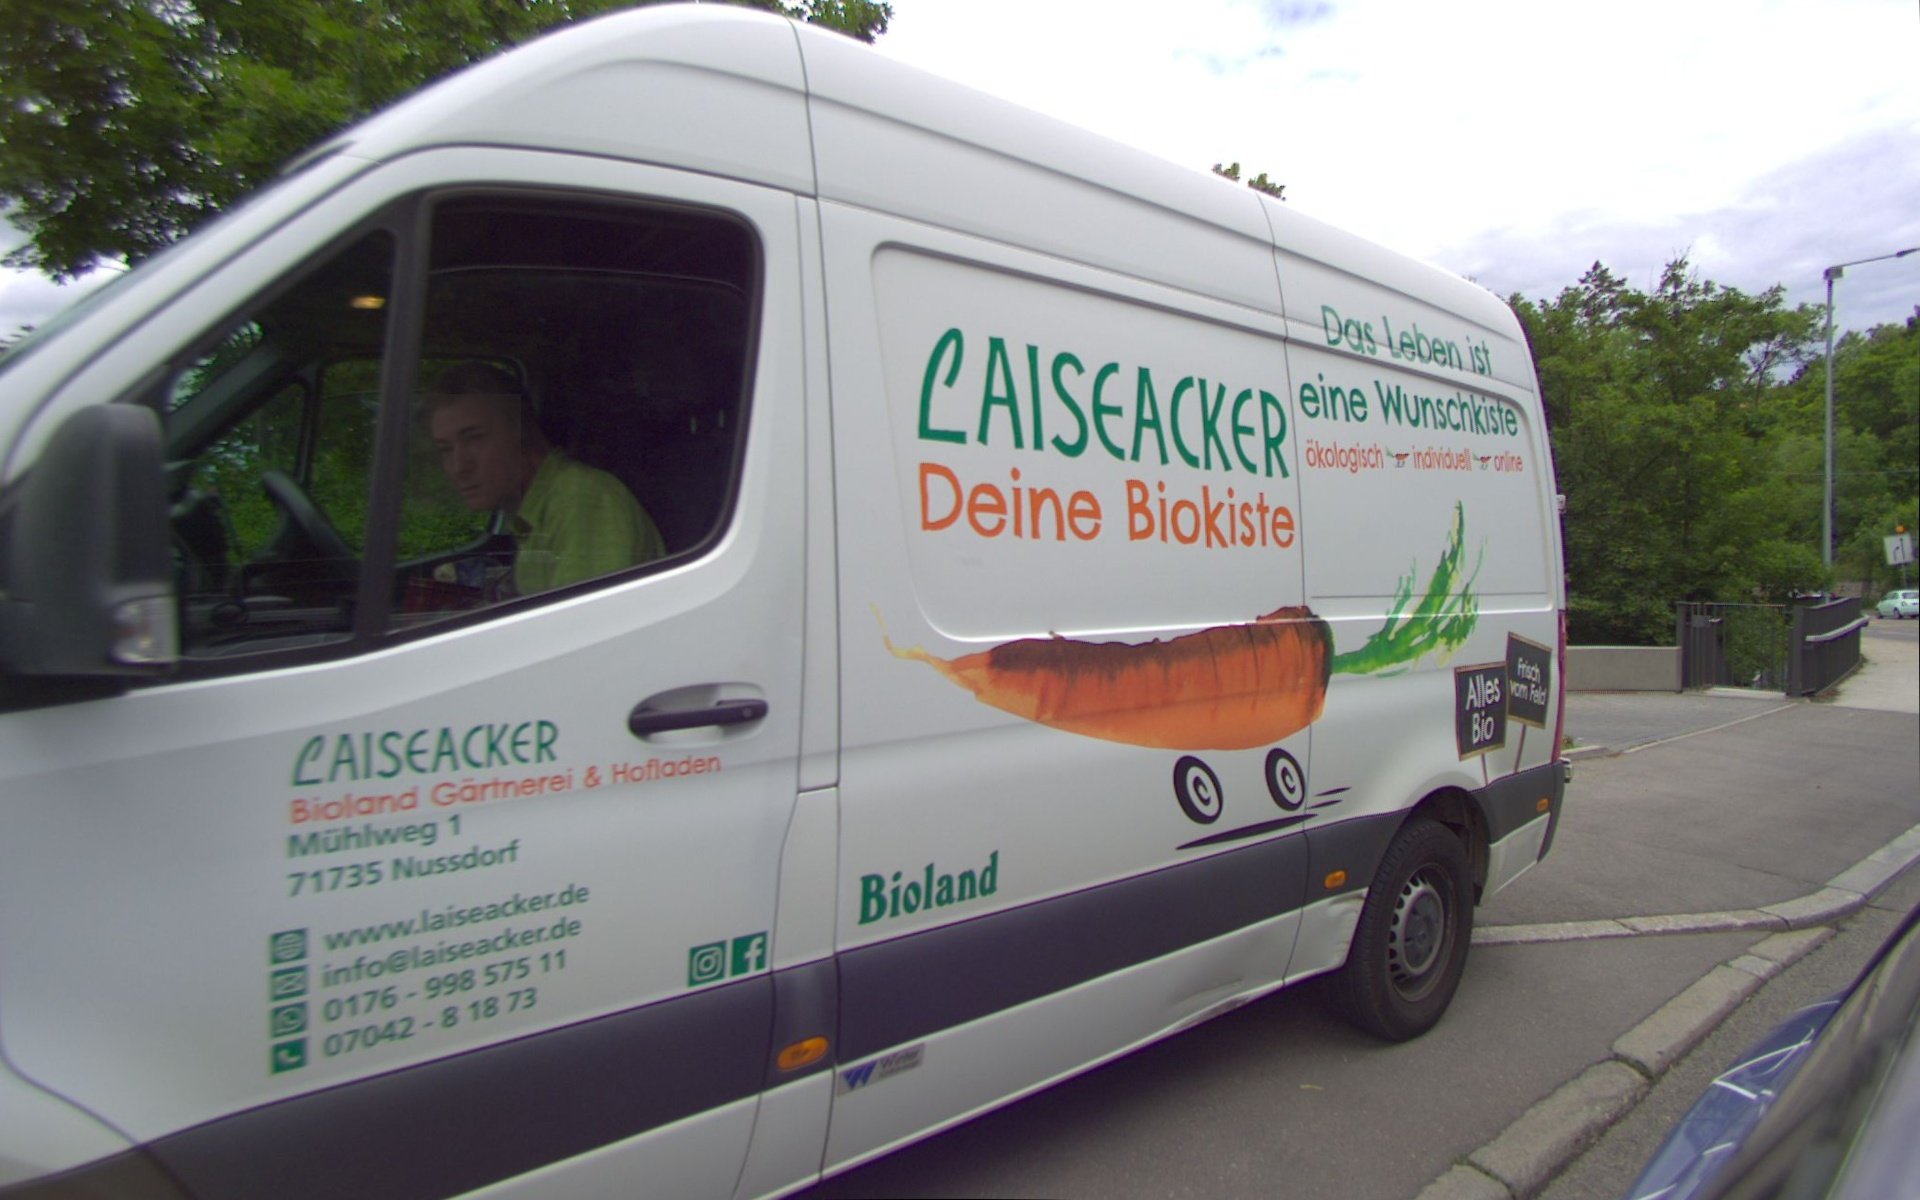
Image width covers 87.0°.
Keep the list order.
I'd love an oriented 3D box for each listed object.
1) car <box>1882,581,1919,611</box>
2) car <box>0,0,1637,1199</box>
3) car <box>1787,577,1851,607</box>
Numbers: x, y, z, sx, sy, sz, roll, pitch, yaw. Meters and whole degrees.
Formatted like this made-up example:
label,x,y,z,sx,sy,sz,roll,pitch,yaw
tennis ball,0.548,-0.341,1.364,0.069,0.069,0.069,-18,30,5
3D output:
label,x,y,z,sx,sy,sz,roll,pitch,yaw
car,49.174,-0.225,51.823,1.697,1.485,3.631,-3,0,23
car,-0.336,0.034,2.960,5.738,2.554,2.090,-1,3,-38
car,53.427,-0.524,63.028,1.870,1.718,4.629,-2,0,26
